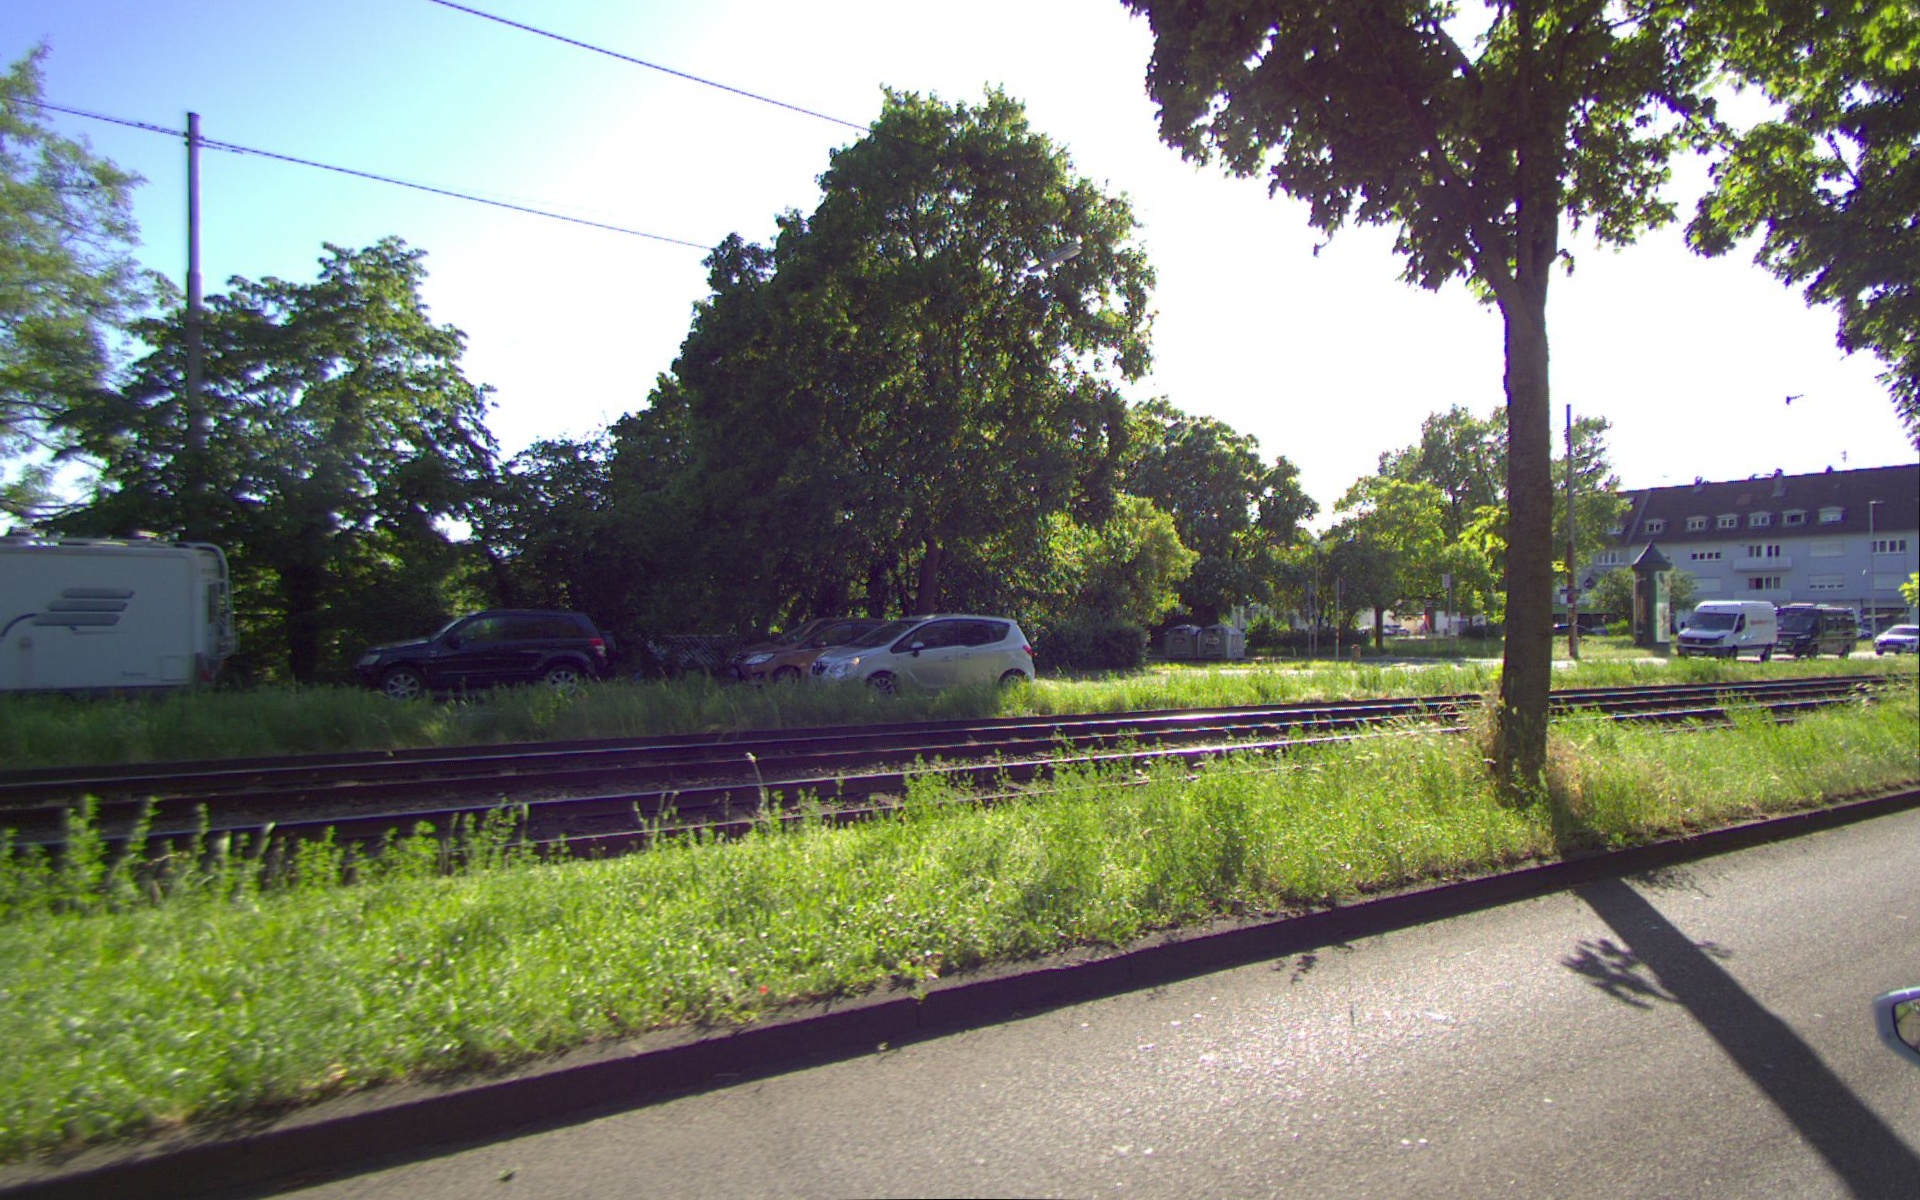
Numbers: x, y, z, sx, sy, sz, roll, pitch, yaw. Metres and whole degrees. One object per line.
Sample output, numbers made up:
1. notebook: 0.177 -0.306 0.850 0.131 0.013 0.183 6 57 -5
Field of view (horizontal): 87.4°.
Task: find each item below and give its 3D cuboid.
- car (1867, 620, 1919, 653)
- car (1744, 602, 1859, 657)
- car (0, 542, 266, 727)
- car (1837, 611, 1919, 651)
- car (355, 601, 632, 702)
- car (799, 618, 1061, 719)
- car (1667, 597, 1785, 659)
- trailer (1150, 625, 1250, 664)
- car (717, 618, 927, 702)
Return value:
1. car: 51.589 2.003 54.753 4.718 1.628 1.814 2 1 -30
2. car: 40.072 1.413 47.788 6.390 2.408 2.172 2 1 -31
3. car: -14.467 0.452 14.860 6.719 2.615 2.214 1 1 -31
4. car: 64.393 2.141 68.108 2.306 2.541 7.020 1 1 -34
5. car: -8.580 0.917 18.644 4.481 1.644 1.614 2 1 -31
6. car: -0.498 1.172 18.028 4.390 1.548 1.719 2 1 -30
7. car: 33.686 1.228 44.097 6.068 2.530 1.991 2 1 -31
8. trailer: 10.124 1.874 42.433 3.704 1.524 1.745 -4 -3 40
9. car: -2.979 1.272 21.887 4.196 1.606 1.667 2 1 -29
